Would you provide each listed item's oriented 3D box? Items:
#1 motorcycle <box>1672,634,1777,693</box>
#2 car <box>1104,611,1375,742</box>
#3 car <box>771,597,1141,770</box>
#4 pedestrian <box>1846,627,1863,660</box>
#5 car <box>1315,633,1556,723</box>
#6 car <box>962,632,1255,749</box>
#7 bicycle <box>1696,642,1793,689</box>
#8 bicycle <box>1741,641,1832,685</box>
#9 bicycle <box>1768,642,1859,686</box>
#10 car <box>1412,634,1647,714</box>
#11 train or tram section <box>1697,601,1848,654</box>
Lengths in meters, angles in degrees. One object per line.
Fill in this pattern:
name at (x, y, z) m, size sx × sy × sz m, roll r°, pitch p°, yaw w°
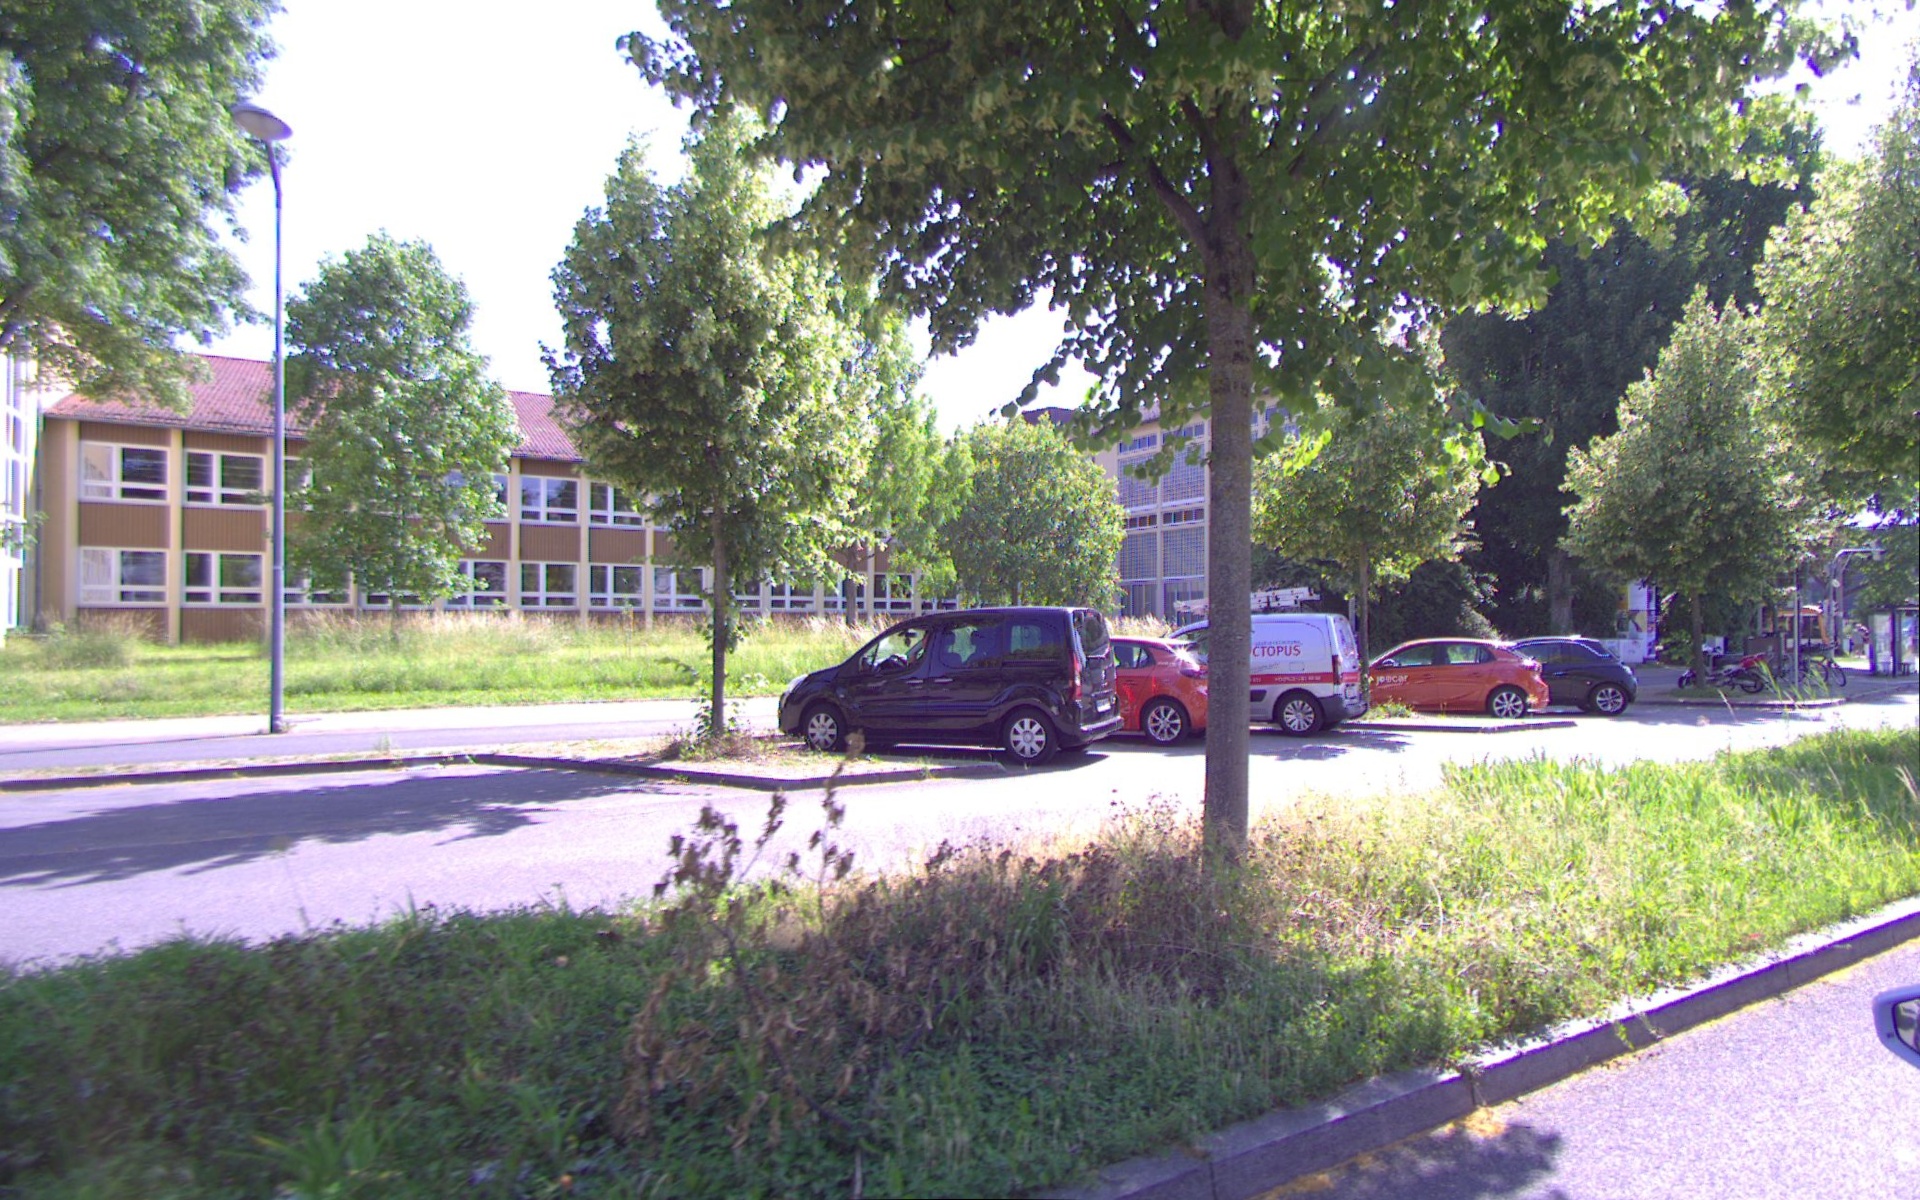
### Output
motorcycle at (17.917, 1.458, 23.577) m, size 0.686 × 1.301 × 1.833 m, roll 1°, pitch -1°, yaw -36°
car at (4.302, 1.082, 15.501) m, size 3.707 × 1.795 × 1.816 m, roll 0°, pitch -2°, yaw 29°
car at (-0.031, 0.944, 12.408) m, size 4.108 × 1.840 × 2.003 m, roll -1°, pitch -1°, yaw 23°
pedestrian at (47.237, 2.300, 53.026) m, size 0.651 × 1.749 × 0.749 m, roll -1°, pitch -2°, yaw 42°
car at (8.502, 1.335, 18.193) m, size 3.770 × 1.442 × 1.714 m, roll 0°, pitch -1°, yaw 25°
car at (2.100, 1.191, 14.274) m, size 3.707 × 1.446 × 1.853 m, roll -1°, pitch -2°, yaw 29°
bicycle at (20.092, 1.658, 25.762) m, size 0.684 × 1.106 × 1.838 m, roll 1°, pitch -1°, yaw -28°
bicycle at (22.911, 1.731, 27.889) m, size 0.684 × 1.121 × 1.838 m, roll 1°, pitch -1°, yaw -28°
bicycle at (24.021, 1.780, 28.314) m, size 0.684 × 1.137 × 1.838 m, roll 1°, pitch -1°, yaw -28°
car at (10.963, 1.411, 19.644) m, size 3.700 × 1.442 × 1.856 m, roll -1°, pitch -3°, yaw 20°
train or tram section at (55.679, 1.879, 69.083) m, size 3.084 × 3.376 × 7.518 m, roll 1°, pitch -2°, yaw -31°
